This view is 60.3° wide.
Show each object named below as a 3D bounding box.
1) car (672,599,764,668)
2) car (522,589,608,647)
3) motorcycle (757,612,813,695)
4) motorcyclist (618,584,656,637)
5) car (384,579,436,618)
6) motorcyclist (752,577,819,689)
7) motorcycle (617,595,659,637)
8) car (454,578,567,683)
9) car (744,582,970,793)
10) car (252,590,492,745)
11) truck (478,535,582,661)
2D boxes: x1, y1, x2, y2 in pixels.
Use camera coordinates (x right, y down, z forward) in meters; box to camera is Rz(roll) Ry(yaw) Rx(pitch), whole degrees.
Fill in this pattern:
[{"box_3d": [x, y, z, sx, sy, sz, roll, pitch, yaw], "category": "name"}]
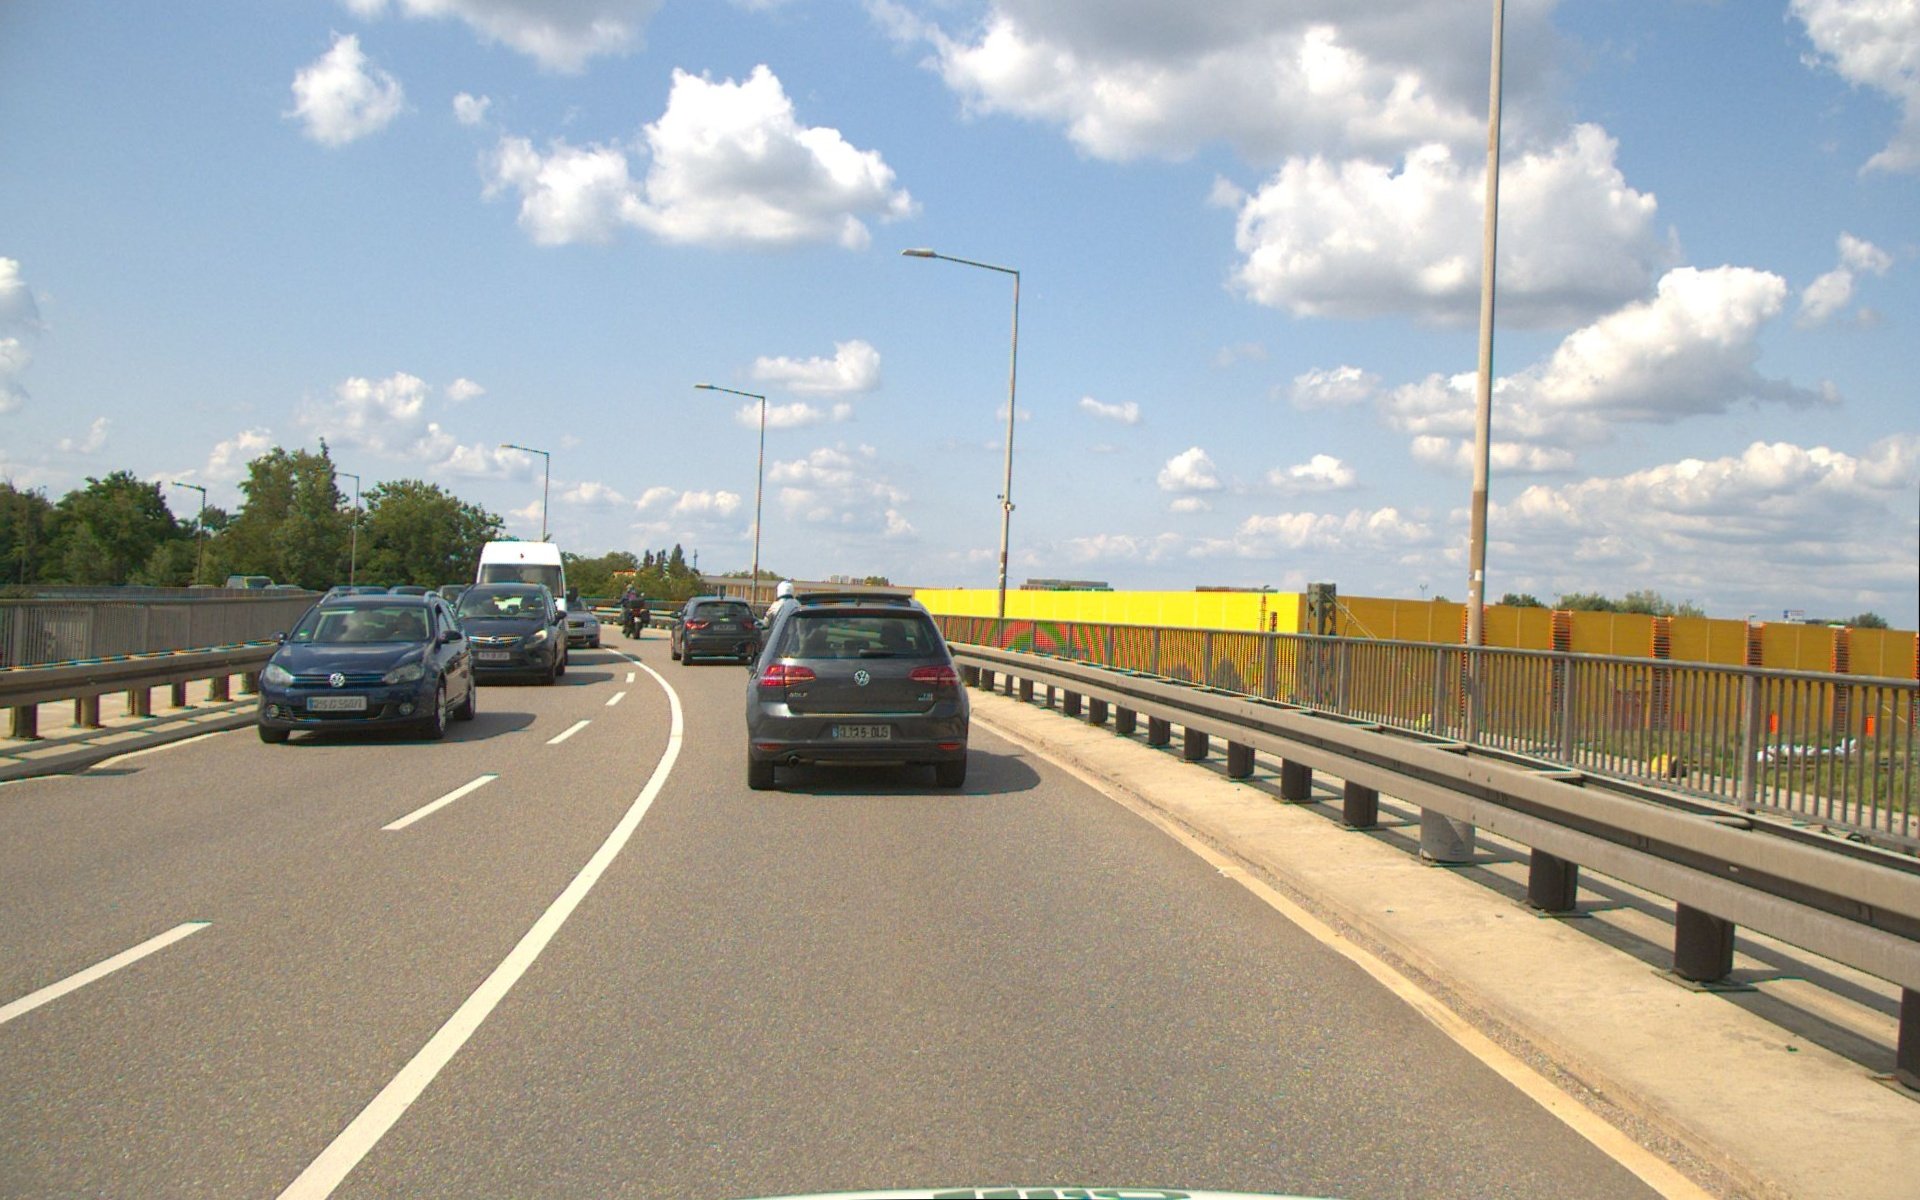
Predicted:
[{"box_3d": [-5.276, 0.711, 35.710, 1.653, 1.412, 3.726, 0, -1, -13], "category": "car"}, {"box_3d": [-10.703, 0.450, 44.631, 1.740, 1.485, 4.272, -1, 0, -20], "category": "car"}, {"box_3d": [-2.675, 0.781, 25.062, 0.774, 1.151, 2.395, 1, 0, -7], "category": "motorcycle"}, {"box_3d": [-10.103, 0.315, 51.747, 0.952, 1.624, 1.118, 1, 0, -21], "category": "motorcyclist"}, {"box_3d": [-23.464, -0.092, 70.481, 1.662, 1.624, 4.249, 0, 1, -25], "category": "car"}, {"box_3d": [-2.669, 0.496, 25.165, 0.948, 1.648, 1.123, 1, 0, -8], "category": "motorcyclist"}, {"box_3d": [-10.076, 0.484, 51.691, 0.874, 1.269, 2.385, 1, 0, -20], "category": "motorcycle"}, {"box_3d": [-7.643, 0.474, 28.414, 1.688, 1.660, 4.413, 0, 0, -13], "category": "car"}, {"box_3d": [-0.797, 0.644, 13.947, 1.609, 1.504, 3.871, 1, 0, -2], "category": "car"}, {"box_3d": [-6.240, 0.629, 18.012, 1.628, 1.479, 4.318, 0, 0, -8], "category": "car"}, {"box_3d": [-9.584, -0.069, 36.528, 1.962, 2.551, 5.919, 0, 0, -17], "category": "truck"}]
